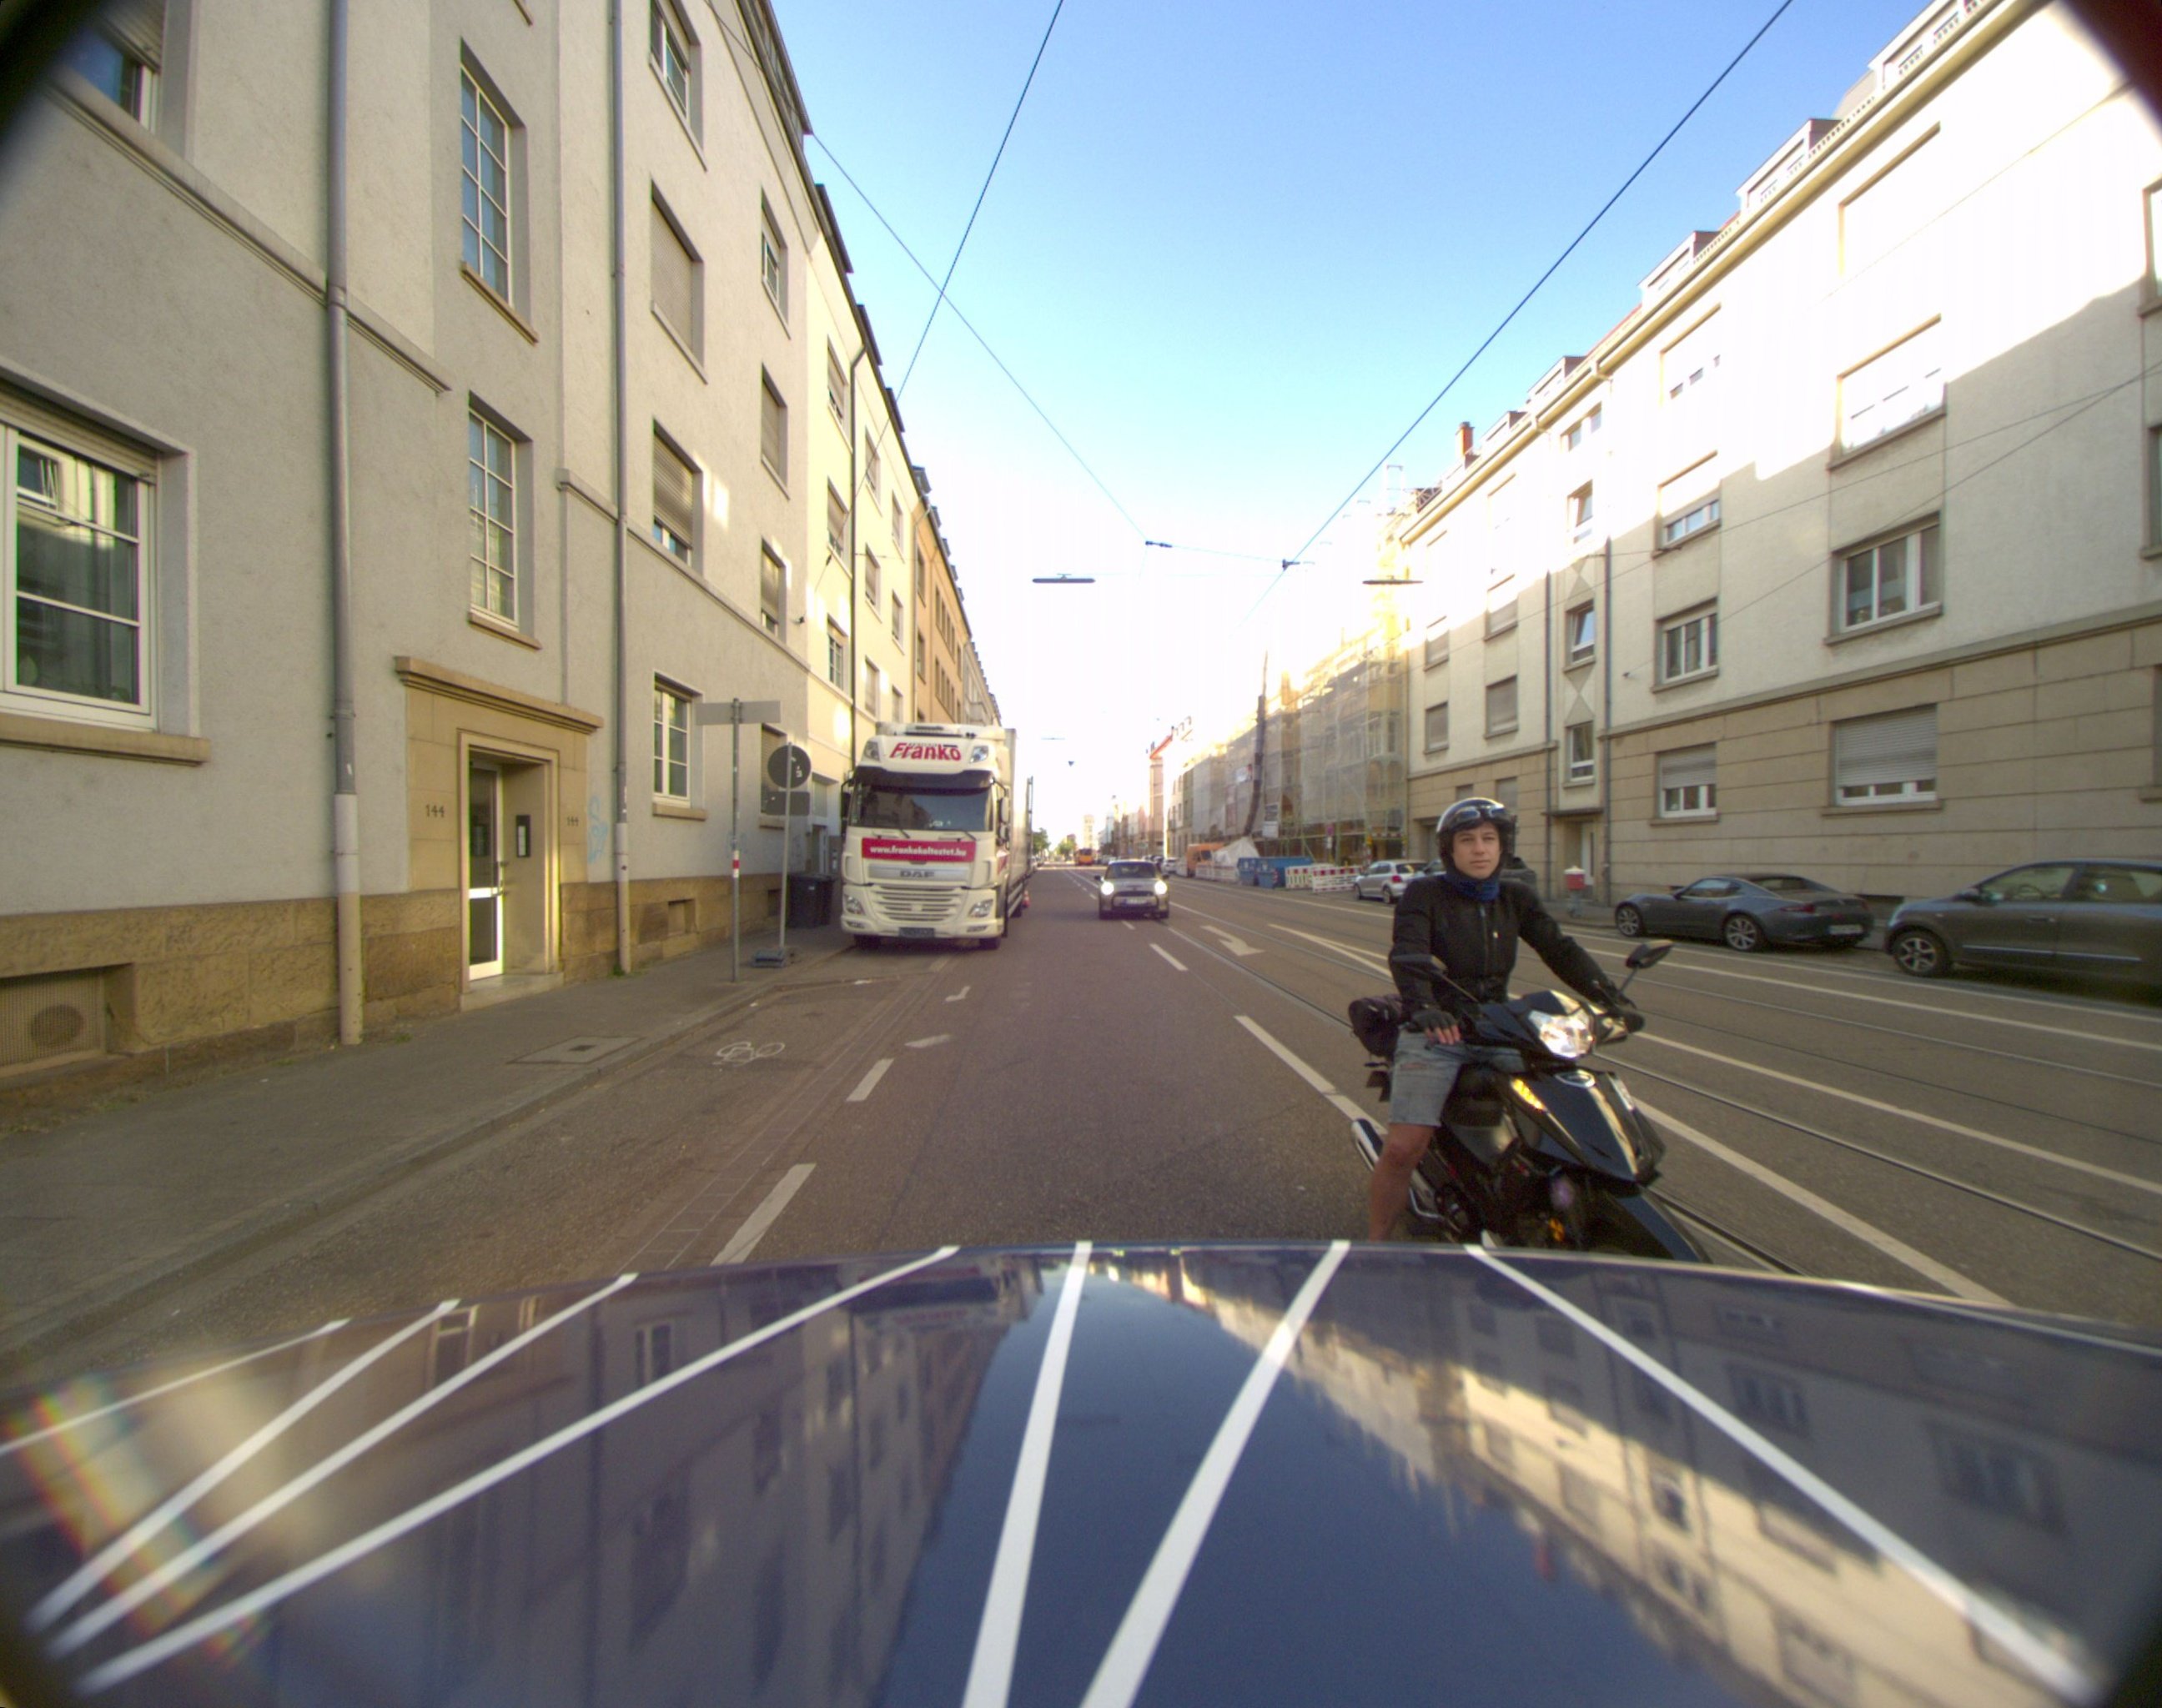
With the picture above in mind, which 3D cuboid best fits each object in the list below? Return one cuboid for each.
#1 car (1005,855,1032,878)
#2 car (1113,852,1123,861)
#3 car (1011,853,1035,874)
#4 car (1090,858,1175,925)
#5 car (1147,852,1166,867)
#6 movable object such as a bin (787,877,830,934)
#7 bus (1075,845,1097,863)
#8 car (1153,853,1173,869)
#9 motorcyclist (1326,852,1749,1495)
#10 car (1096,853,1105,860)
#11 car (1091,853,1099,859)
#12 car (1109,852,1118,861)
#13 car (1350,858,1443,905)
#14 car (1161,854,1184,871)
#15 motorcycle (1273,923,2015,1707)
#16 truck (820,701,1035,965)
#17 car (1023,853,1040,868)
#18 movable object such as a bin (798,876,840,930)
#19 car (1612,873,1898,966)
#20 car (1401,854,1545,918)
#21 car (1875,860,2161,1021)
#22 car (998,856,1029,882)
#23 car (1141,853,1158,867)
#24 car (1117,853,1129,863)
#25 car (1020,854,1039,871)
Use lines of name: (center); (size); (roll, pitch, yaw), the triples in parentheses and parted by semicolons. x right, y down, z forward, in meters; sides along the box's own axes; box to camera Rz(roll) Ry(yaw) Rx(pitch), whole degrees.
car: (-4.306, 0.830, 52.987); (1.685, 1.522, 4.148); (-2, 0, -3)
car: (6.525, 0.463, 134.399); (1.684, 1.478, 3.966); (-2, 0, 1)
car: (-4.514, 0.747, 59.156); (1.685, 1.522, 4.148); (-2, 0, -3)
car: (1.213, 0.878, 19.538); (1.685, 1.454, 4.148); (-2, 0, -3)
car: (8.241, 0.615, 83.181); (1.684, 1.573, 3.966); (-2, 0, 1)
movable object such as a bin: (-5.385, 1.009, 15.038); (0.666, 1.087, 0.570); (0, 1, -2)
bus: (0.757, -0.052, 139.293); (2.755, 3.095, 19.156); (0, 0, -3)
car: (8.262, 0.704, 76.808); (1.684, 1.478, 3.966); (-2, 0, 1)
motorcyclist: (1.307, 0.818, 2.388); (0.791, 1.645, 0.900); (0, 1, 1)
car: (4.251, 0.615, 167.810); (1.684, 1.478, 3.965); (-2, 0, -1)
car: (3.529, 0.606, 191.744); (1.684, 1.478, 3.965); (-2, 0, -1)
car: (5.952, 0.442, 139.342); (1.684, 1.478, 3.966); (-2, 0, 1)
car: (10.607, 0.881, 25.777); (1.543, 1.404, 3.510); (-1, 0, -3)
car: (8.568, 0.759, 71.111); (1.684, 1.478, 3.966); (-2, 0, 1)
motorcycle: (1.307, 0.975, 2.518); (0.791, 1.284, 2.273); (0, 0, 1)
truck: (-2.628, -0.319, 17.178); (2.782, 3.903, 11.816); (0, 0, -2)
car: (-5.355, 0.649, 82.742); (1.685, 1.522, 4.148); (-2, 0, -3)
movable object such as a bin: (-5.402, 1.001, 15.706); (0.666, 1.087, 0.570); (0, 1, -2)
car: (11.178, 1.000, 12.979); (1.520, 1.227, 3.685); (-1, 0, -3)
car: (10.808, 0.805, 21.329); (1.696, 1.590, 4.206); (-1, 0, -3)
car: (11.415, 0.860, 8.317); (1.679, 1.519, 3.539); (-1, 0, -3)
car: (-4.179, 0.898, 47.185); (1.685, 1.522, 4.148); (-2, 0, -3)
car: (7.929, 0.652, 87.878); (1.684, 1.478, 3.966); (-2, 0, 1)
car: (6.593, 0.622, 118.633); (1.684, 1.478, 3.966); (-2, 0, 1)
car: (-4.860, 0.749, 72.096); (1.685, 1.522, 4.148); (-2, 0, -3)
